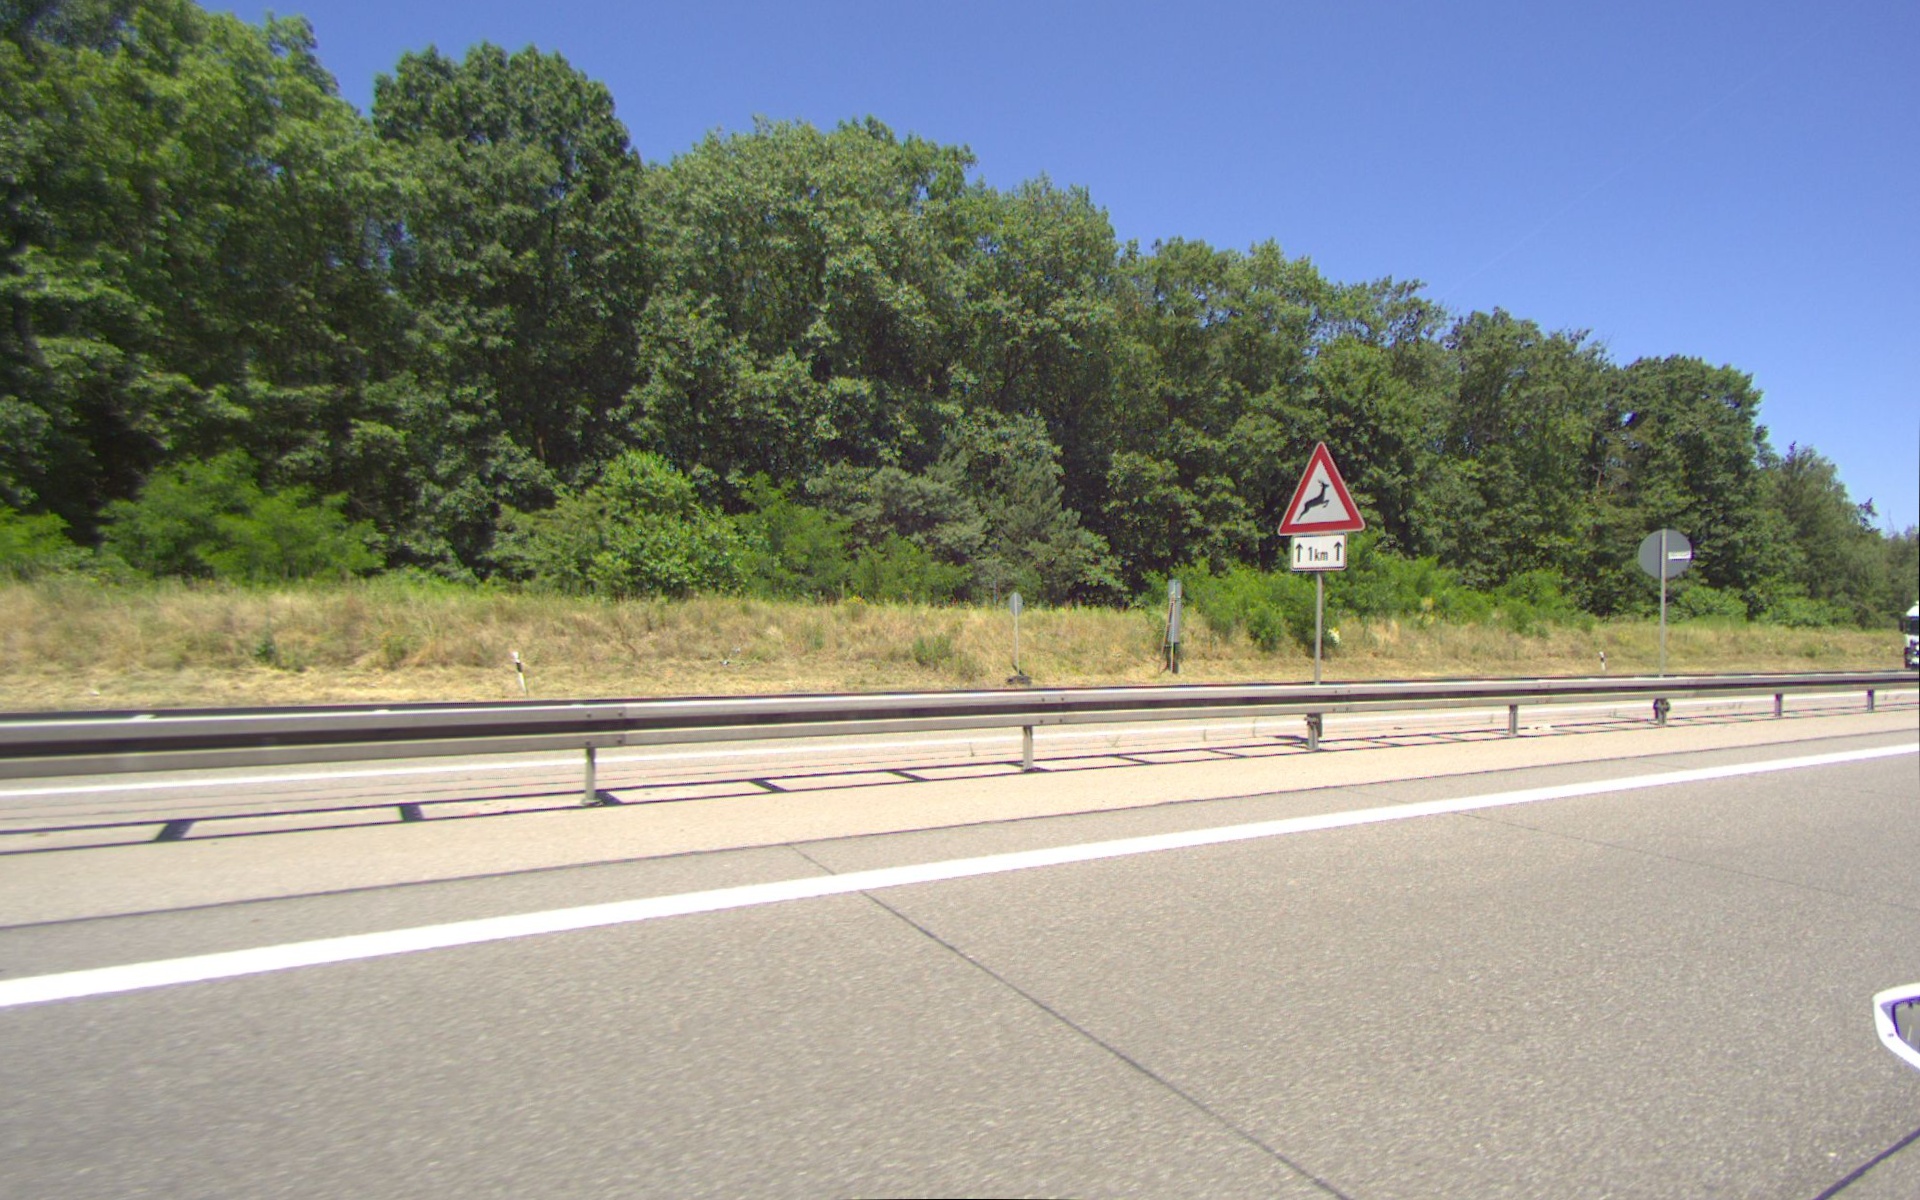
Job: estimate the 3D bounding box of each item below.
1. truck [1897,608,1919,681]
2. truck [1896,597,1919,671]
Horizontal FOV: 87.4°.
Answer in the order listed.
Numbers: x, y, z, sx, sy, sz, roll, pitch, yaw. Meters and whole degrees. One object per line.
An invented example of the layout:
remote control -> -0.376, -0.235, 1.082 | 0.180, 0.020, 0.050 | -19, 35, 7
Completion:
truck -> 38.948, 1.721, 38.550 | 7.935, 2.657, 2.074 | 2, -4, -30
truck -> 55.396, 1.938, 56.306 | 6.053, 4.066, 2.494 | 2, -4, -30
